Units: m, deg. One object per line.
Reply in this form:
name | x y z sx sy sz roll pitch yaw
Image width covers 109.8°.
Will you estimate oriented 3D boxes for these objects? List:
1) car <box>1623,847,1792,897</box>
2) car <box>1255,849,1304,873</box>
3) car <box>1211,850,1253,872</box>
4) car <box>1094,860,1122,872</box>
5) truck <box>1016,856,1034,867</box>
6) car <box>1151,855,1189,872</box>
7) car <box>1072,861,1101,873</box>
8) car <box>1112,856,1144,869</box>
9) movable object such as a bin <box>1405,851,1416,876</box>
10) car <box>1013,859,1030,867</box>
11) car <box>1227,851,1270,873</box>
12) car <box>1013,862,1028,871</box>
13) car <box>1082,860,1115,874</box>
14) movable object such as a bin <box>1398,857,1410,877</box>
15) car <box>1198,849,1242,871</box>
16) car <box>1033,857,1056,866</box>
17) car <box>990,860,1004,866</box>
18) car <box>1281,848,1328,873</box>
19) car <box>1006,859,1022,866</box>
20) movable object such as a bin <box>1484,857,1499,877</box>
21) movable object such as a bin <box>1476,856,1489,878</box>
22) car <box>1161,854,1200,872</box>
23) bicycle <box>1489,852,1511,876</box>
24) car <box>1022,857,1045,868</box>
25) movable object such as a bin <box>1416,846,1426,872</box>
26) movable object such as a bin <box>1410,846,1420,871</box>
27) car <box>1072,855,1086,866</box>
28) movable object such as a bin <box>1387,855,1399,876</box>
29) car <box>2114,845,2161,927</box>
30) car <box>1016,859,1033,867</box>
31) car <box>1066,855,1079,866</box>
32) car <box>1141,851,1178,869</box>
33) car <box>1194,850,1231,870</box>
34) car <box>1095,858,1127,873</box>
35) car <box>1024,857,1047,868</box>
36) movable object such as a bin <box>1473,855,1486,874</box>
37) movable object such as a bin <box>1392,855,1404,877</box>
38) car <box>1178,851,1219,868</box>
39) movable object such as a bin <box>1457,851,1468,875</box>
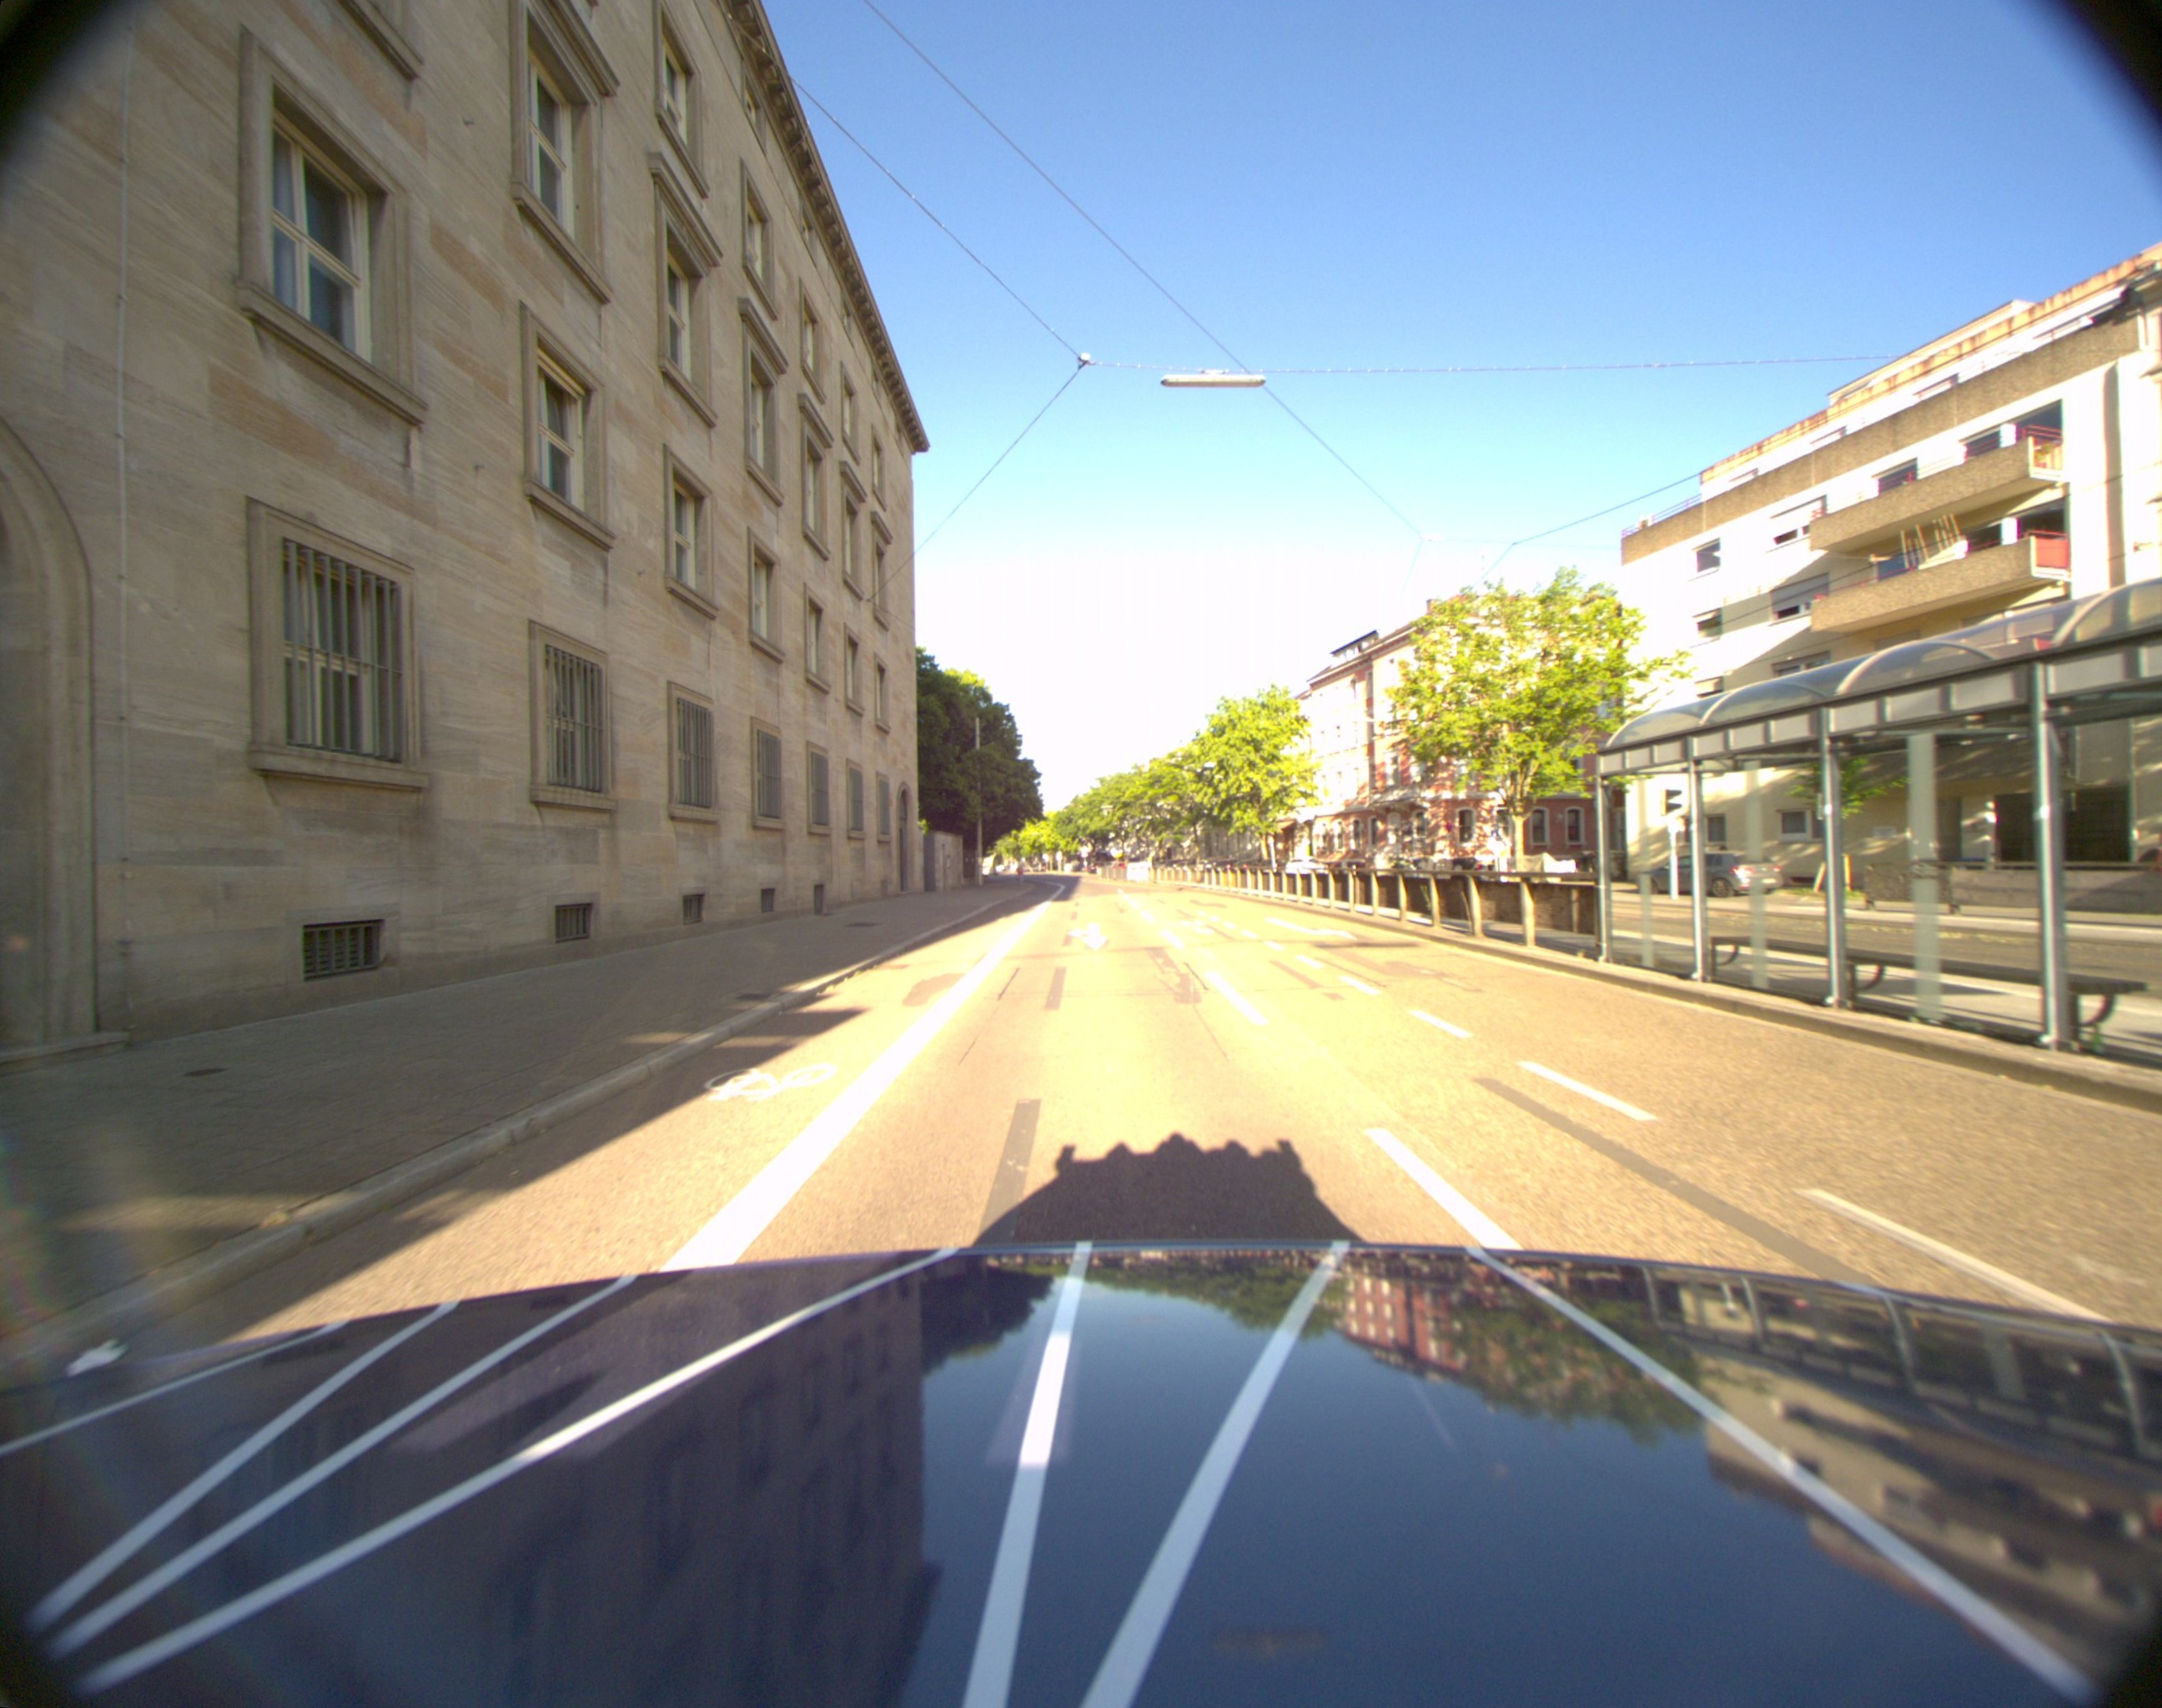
car | 20.762 0.558 25.438 1.711 1.402 4.289 -4 0 -8
car | 15.082 0.504 57.732 3.929 1.499 1.685 -4 1 -44
car | 13.072 0.600 65.456 1.630 1.607 3.993 -3 1 43
car | 3.795 1.652 105.564 1.744 1.511 3.772 -2 2 44
truck | -13.410 1.842 181.969 3.774 2.409 1.671 -4 1 -13
car | 9.530 1.027 81.305 3.877 1.645 1.768 -3 1 -41
car | 0.789 1.896 109.843 4.007 1.477 1.777 -4 2 -44
car | 6.210 1.105 100.385 4.208 1.549 1.636 -3 1 -41
movable object such as a bin | 18.648 0.535 43.006 0.380 1.418 0.387 -1 1 0
car | -14.786 2.230 188.633 3.775 1.584 1.670 -4 1 -18
car | 13.825 0.637 62.652 1.630 1.607 3.993 -3 1 43
car | -11.616 2.376 145.894 1.878 1.591 4.421 -1 0 -16
car | 2.518 1.814 107.817 4.366 1.704 1.944 -4 2 -35
movable object such as a bin | 17.974 0.729 42.323 0.380 1.062 0.639 -1 0 0
car | 12.610 0.521 68.732 4.293 1.713 1.703 -5 3 -44
car | -7.113 1.453 148.533 4.105 1.561 1.670 -4 1 -18
car | -24.158 2.666 219.266 3.624 1.492 1.502 -4 1 -18
car | 16.202 0.466 54.914 1.731 1.513 3.923 -3 1 41
car | -18.050 2.266 204.784 3.775 1.584 1.670 -4 1 -18
movable object such as a bin | 21.631 0.692 40.060 0.448 1.028 0.552 -1 2 -6
movable object such as a bin | 21.152 0.682 40.010 0.380 1.090 0.552 -1 2 -6
car | 10.238 0.961 78.081 3.877 1.645 1.768 -3 1 -41
bicycle | 20.271 0.474 36.739 0.264 1.110 1.405 -1 0 0
car | -9.662 1.746 154.931 4.311 1.940 1.670 -4 1 -18
movable object such as a bin | 18.846 0.284 42.136 0.380 1.418 0.387 -1 1 0
movable object such as a bin | 18.737 0.245 42.599 0.380 1.418 0.386 -1 1 0
car | -0.342 1.200 133.195 1.673 1.886 3.211 -1 0 -12
movable object such as a bin | 17.957 0.675 43.711 0.380 1.196 0.639 -1 1 0
car | 22.013 0.598 14.636 4.524 1.417 1.868 -3 2 -45
car | -13.667 2.193 184.665 3.775 1.584 1.670 -4 1 -18
car | -1.490 1.200 136.860 1.673 1.886 3.211 -1 0 -12
car | 9.111 0.705 87.850 4.208 1.788 1.781 -4 2 -41
car | 12.411 0.565 71.415 3.286 1.524 1.703 -5 2 -44
car | 4.067 1.514 102.200 4.208 1.714 1.780 -4 2 -44
car | -9.117 1.736 151.941 4.311 1.940 1.670 -4 1 -18
movable object such as a bin | 22.290 0.584 42.465 0.380 1.092 0.552 -1 1 -6
movable object such as a bin | 17.959 0.694 43.028 0.380 1.234 0.639 -1 1 0
car | 11.365 0.517 73.506 3.829 1.477 1.766 -4 2 -41
movable object such as a bin | 21.350 0.499 42.497 0.380 1.304 0.387 -1 1 -6
